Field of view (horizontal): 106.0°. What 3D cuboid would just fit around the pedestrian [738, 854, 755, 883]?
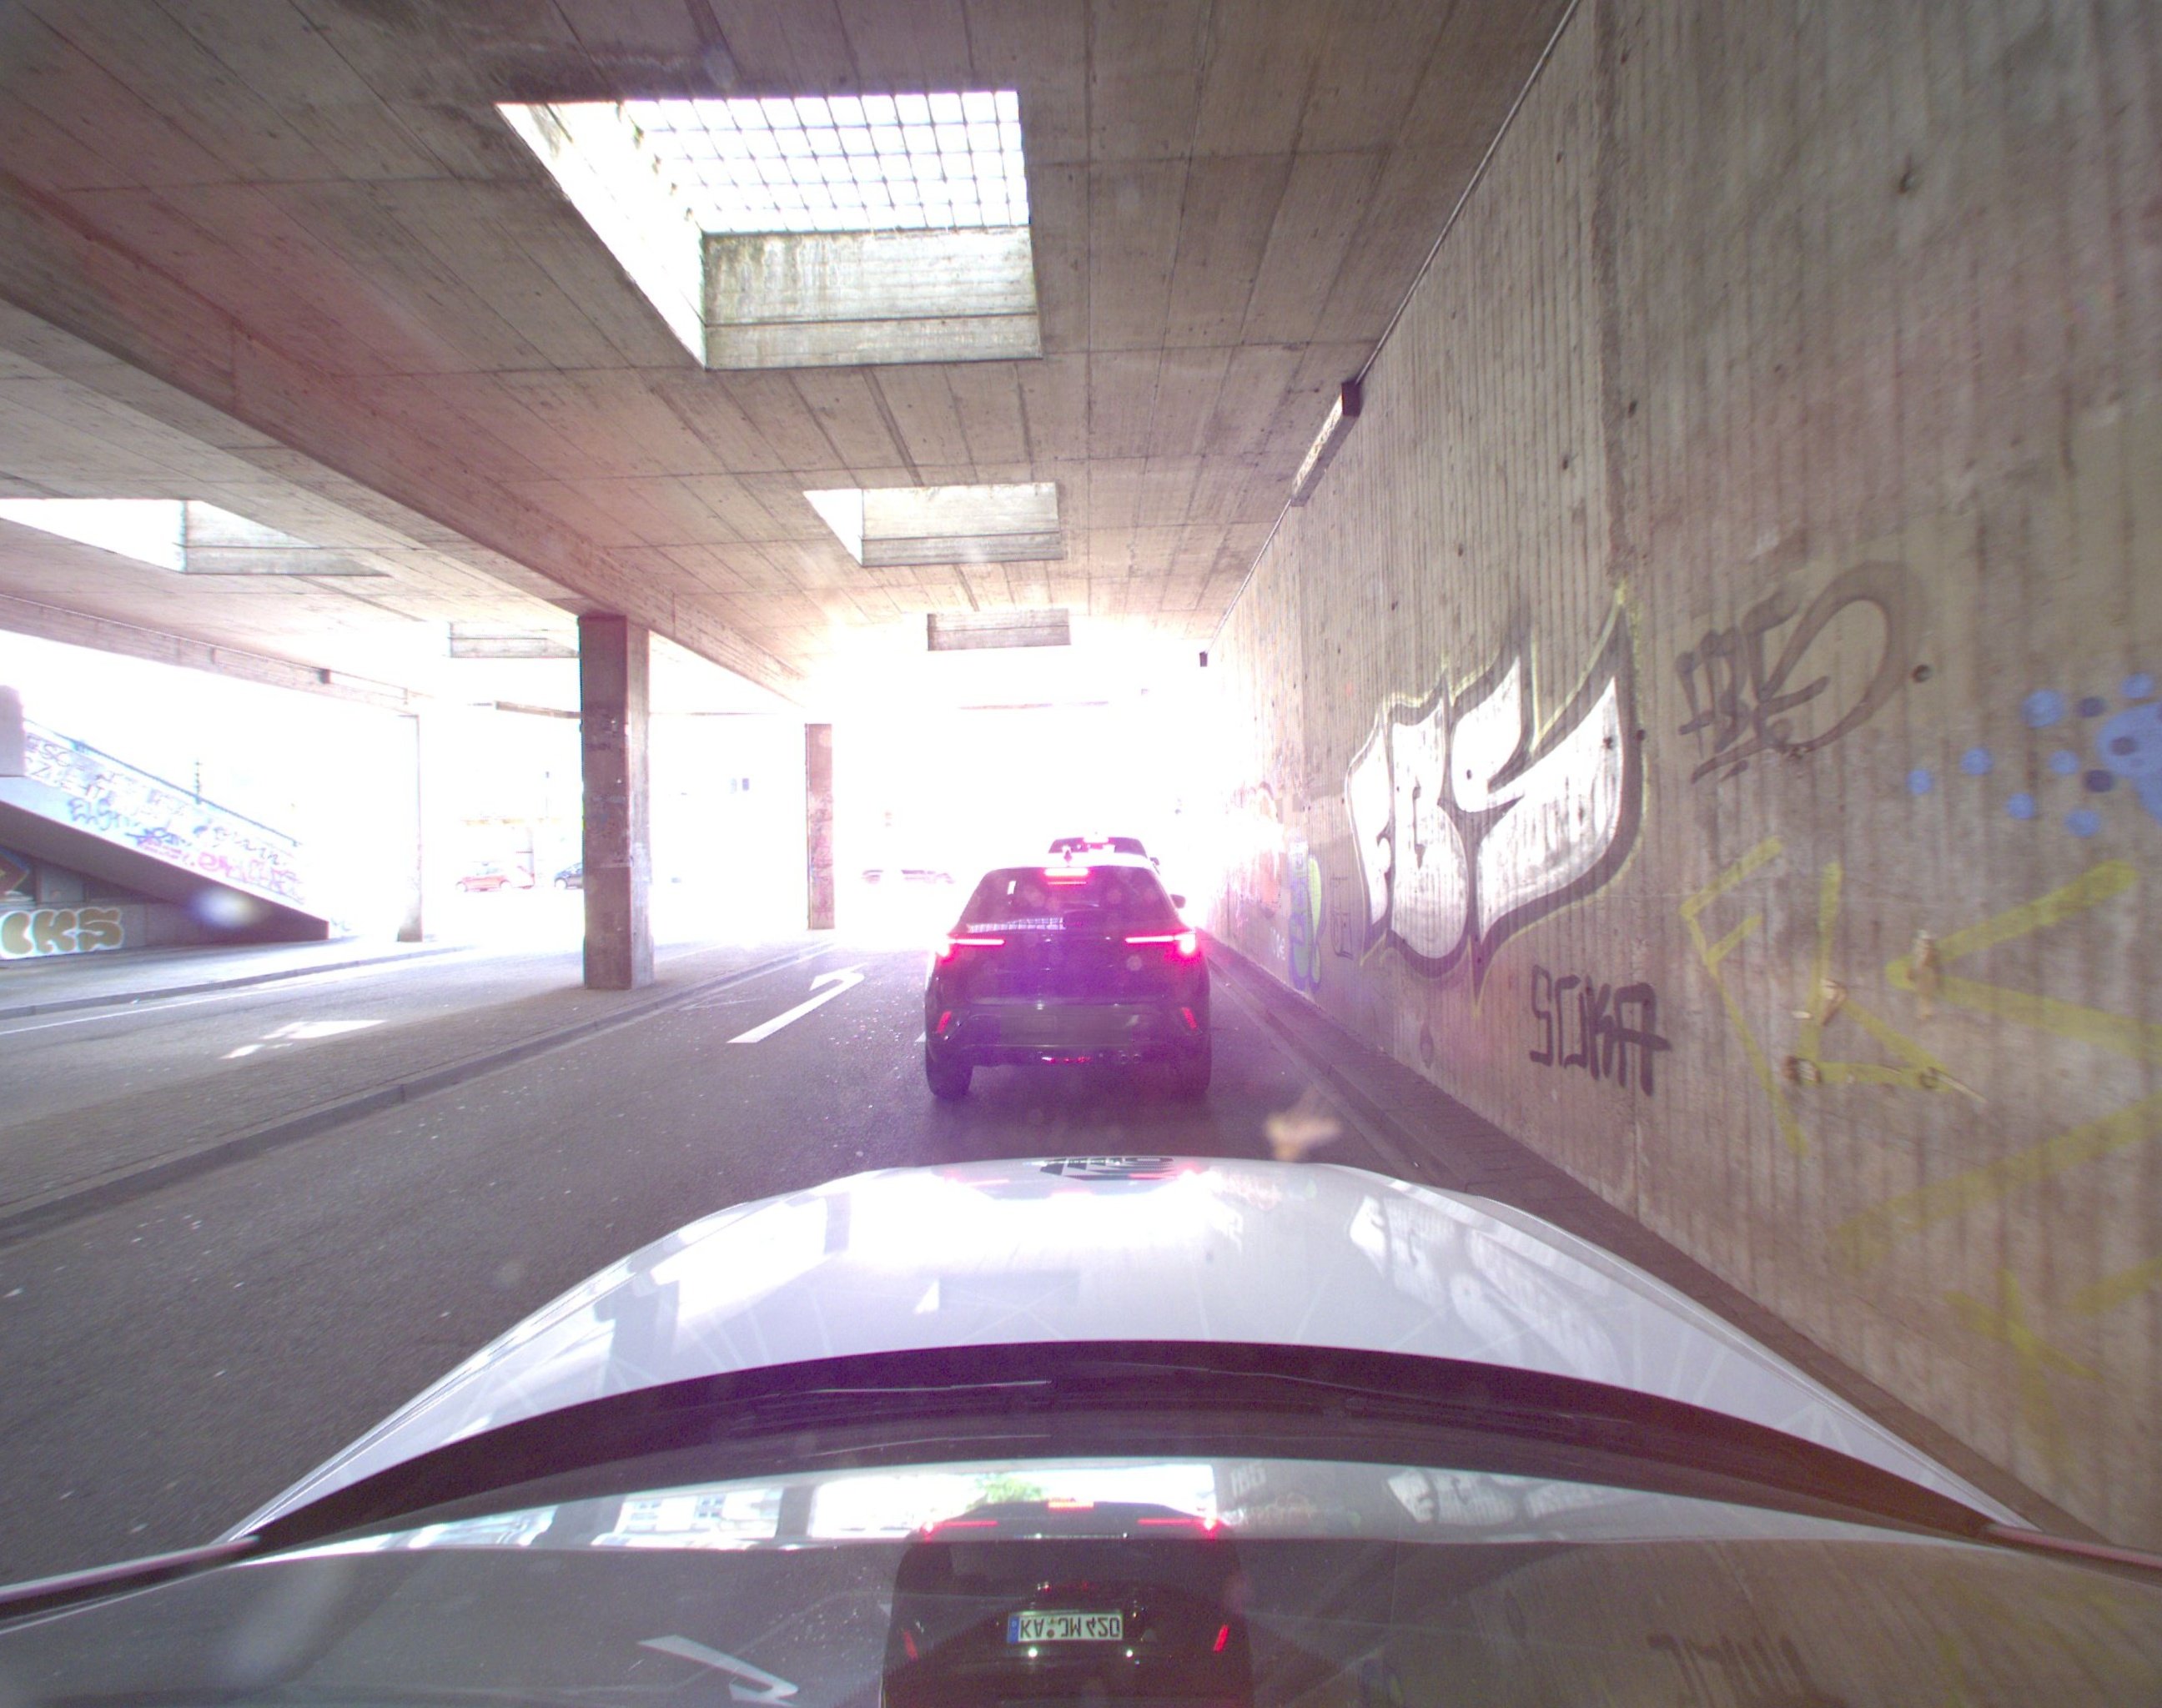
[{"bbox_3d":[-19.340,0.839,47.106,0.719,1.705,0.624,0,-1,-4],"label":"pedestrian"}]

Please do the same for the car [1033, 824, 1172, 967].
[{"bbox_3d":[0.347,0.535,12.511,1.779,1.833,3.962,-1,0,2],"label":"car"}]

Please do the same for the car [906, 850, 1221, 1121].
[{"bbox_3d":[-0.026,0.729,6.536,1.746,1.498,4.002,0,0,2],"label":"car"}]

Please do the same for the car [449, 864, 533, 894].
[{"bbox_3d":[-32.857,1.386,45.383,3.519,1.506,1.563,-1,0,2],"label":"car"}]

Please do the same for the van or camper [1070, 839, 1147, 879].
[{"bbox_3d":[1.514,0.246,43.975,3.854,2.013,2.005,-1,0,9],"label":"van or camper"}]

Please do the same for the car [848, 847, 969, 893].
[{"bbox_3d":[-6.835,0.588,32.743,4.575,1.641,1.995,-2,1,-8],"label":"car"}]

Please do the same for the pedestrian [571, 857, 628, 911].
[{"bbox_3d":[-16.040,0.973,27.169,1.103,1.737,1.146,-1,0,15],"label":"pedestrian"}]

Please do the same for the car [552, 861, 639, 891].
[{"bbox_3d":[-27.107,1.231,45.540,3.742,1.508,1.752,-2,0,0],"label":"car"}]
